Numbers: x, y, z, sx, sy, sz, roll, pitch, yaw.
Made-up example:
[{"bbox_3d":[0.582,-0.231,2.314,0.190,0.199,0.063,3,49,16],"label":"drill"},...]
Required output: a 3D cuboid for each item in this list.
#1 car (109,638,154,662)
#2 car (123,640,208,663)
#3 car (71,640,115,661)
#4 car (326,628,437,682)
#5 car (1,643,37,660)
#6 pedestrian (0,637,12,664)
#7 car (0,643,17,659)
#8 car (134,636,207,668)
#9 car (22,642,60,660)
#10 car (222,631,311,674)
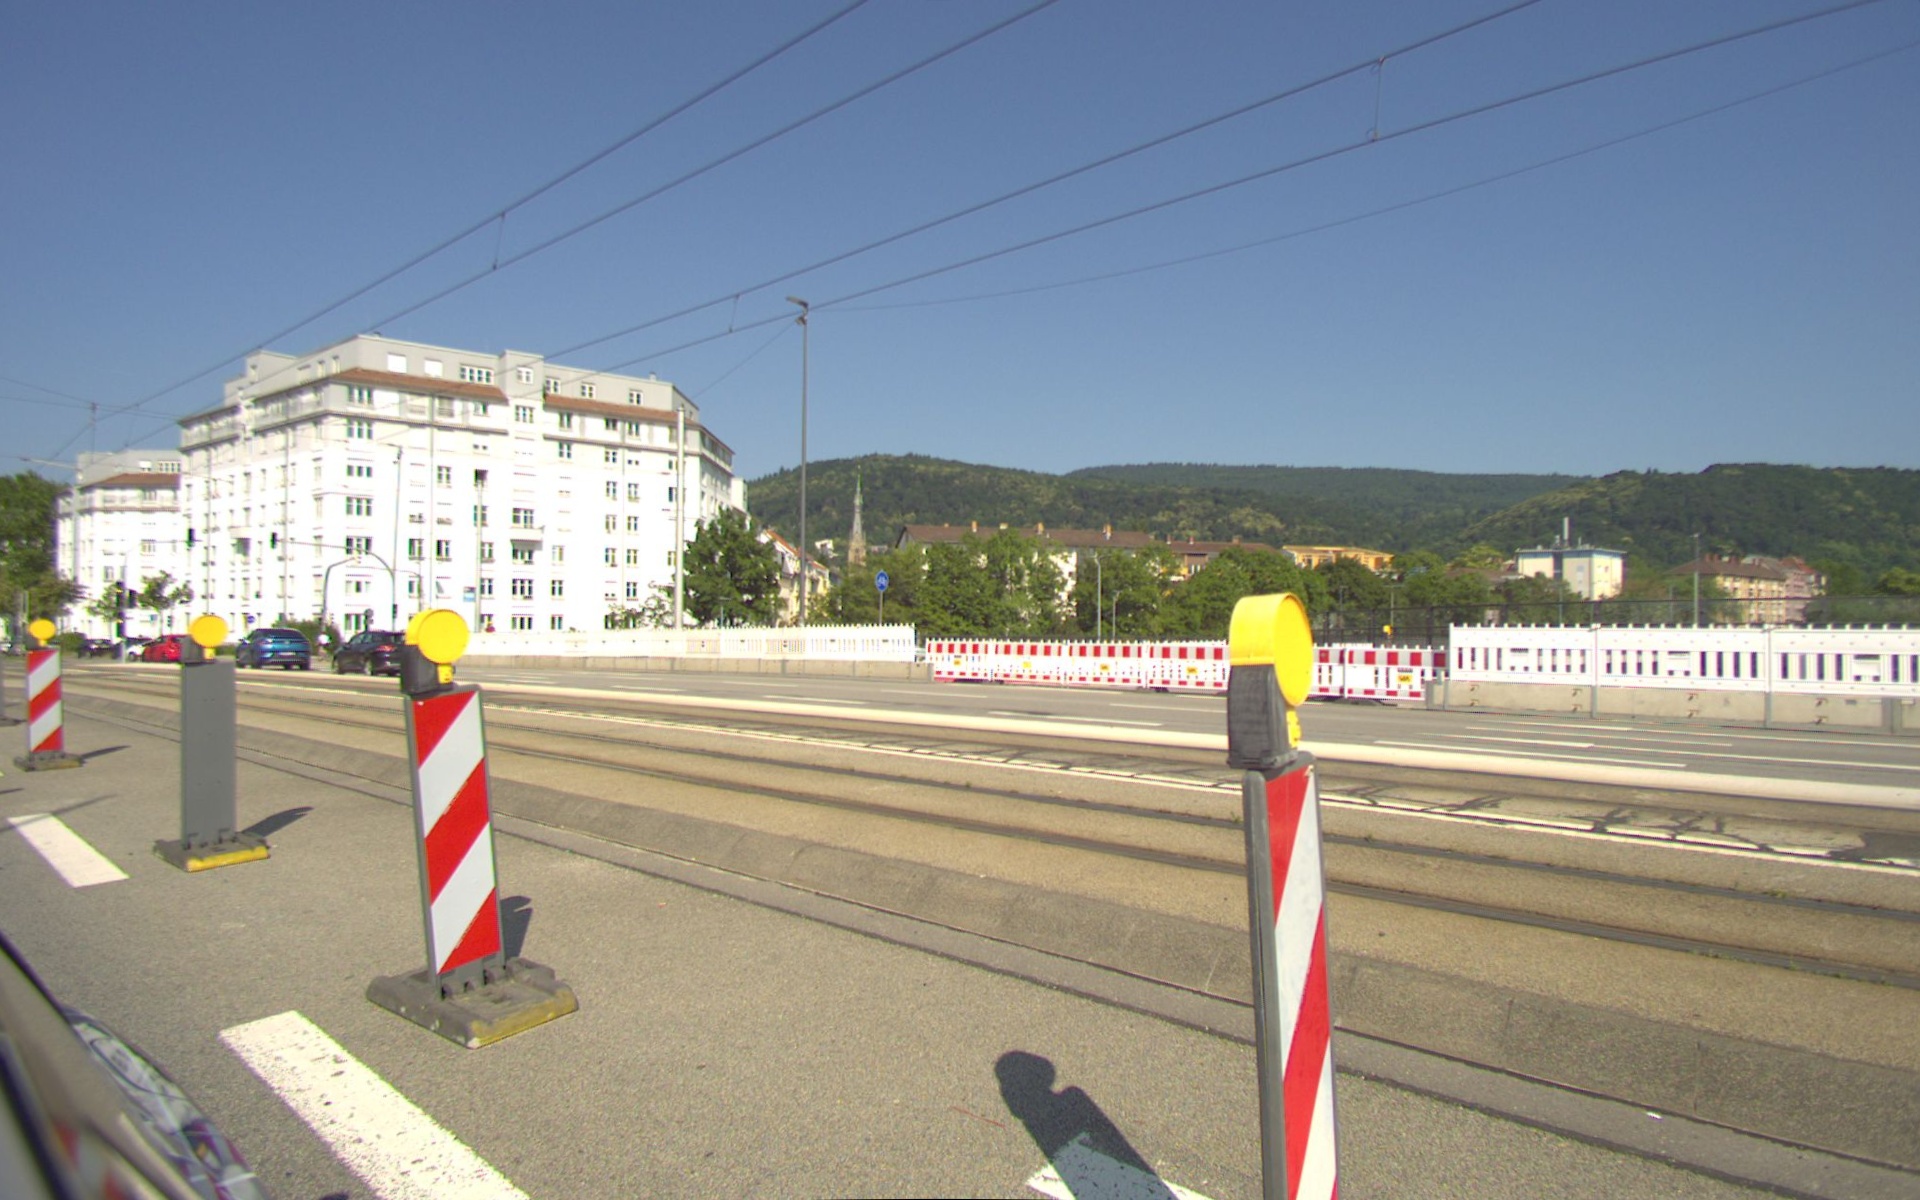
[{"bbox_3d":[-61.747,3.714,75.397,3.732,1.650,1.719,-2,-2,36],"label":"car"},{"bbox_3d":[-50.564,3.278,64.413,4.436,1.423,1.697,0,-3,10],"label":"car"},{"bbox_3d":[-68.838,4.009,80.346,3.730,1.650,1.720,-2,-2,34],"label":"car"},{"bbox_3d":[-17.277,1.631,30.143,4.174,1.512,1.490,-2,-4,40],"label":"car"},{"bbox_3d":[-85.784,4.657,92.291,3.732,1.496,1.719,-2,-2,36],"label":"car"},{"bbox_3d":[-60.692,3.196,63.907,0.820,1.719,0.992,-1,-1,33],"label":"pedestrian"},{"bbox_3d":[-91.755,4.875,96.720,3.732,1.496,1.719,-2,-2,36],"label":"car"},{"bbox_3d":[-37.470,2.444,48.018,3.970,1.448,1.521,-1,-4,34],"label":"car"},{"bbox_3d":[-79.393,4.388,87.406,3.732,1.496,1.719,-2,-2,36],"label":"car"},{"bbox_3d":[-26.637,2.002,38.819,4.553,1.562,1.652,-2,-3,41],"label":"car"}]
